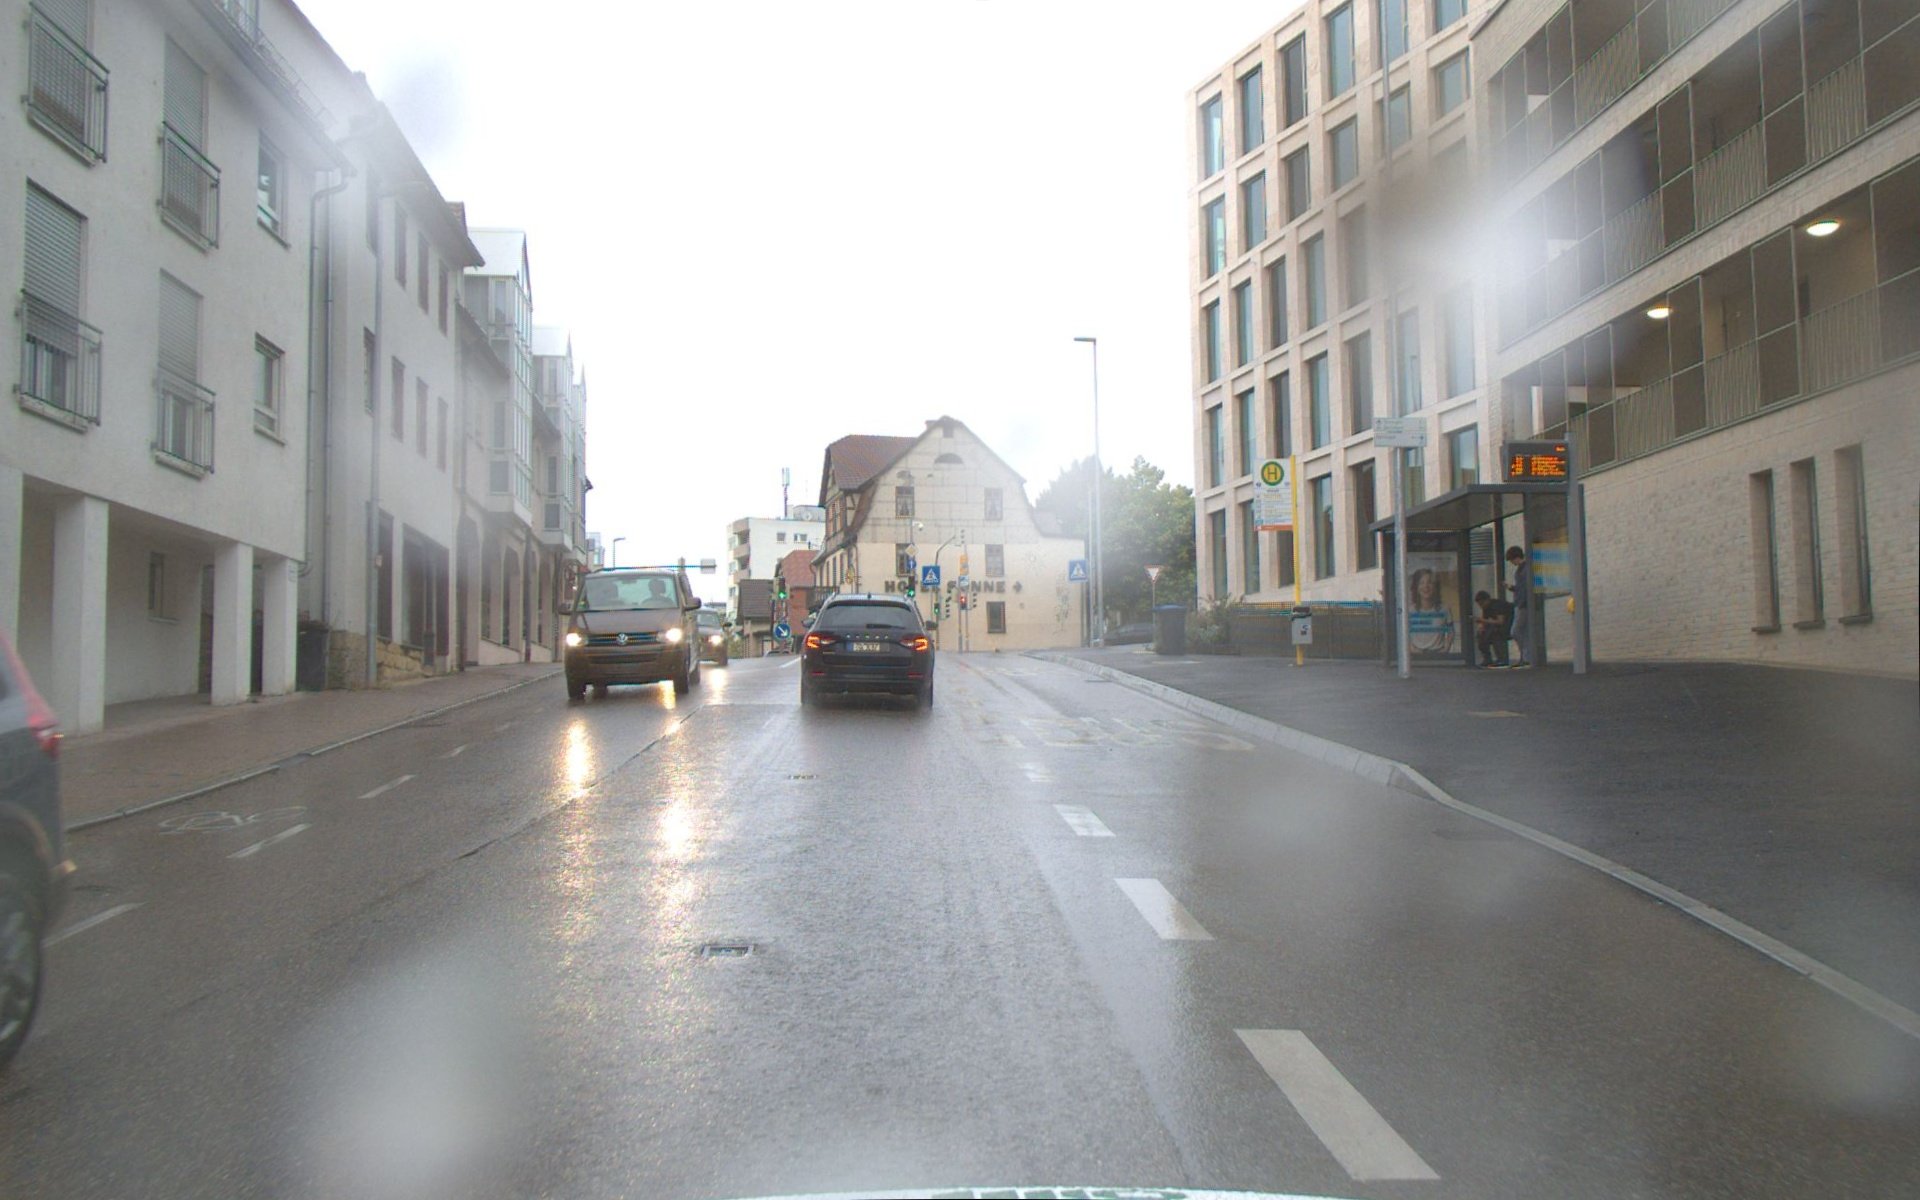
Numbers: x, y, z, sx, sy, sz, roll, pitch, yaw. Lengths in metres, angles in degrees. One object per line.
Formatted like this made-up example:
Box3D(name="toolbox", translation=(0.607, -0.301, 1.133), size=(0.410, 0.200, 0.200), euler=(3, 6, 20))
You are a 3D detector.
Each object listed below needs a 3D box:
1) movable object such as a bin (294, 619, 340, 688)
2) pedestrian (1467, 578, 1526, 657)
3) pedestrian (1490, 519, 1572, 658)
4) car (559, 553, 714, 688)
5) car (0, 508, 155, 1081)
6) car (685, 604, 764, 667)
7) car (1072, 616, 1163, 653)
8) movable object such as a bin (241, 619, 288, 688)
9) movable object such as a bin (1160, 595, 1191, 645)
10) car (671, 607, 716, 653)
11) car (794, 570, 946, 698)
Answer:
Box3D(name="movable object such as a bin", translation=(-9.802, 0.812, 25.224), size=(0.498, 1.024, 0.584), euler=(0, 0, -5))
Box3D(name="pedestrian", translation=(8.359, 0.268, 25.792), size=(0.658, 1.182, 0.635), euler=(-2, 0, -1))
Box3D(name="pedestrian", translation=(8.440, -0.165, 24.492), size=(0.766, 1.974, 1.021), euler=(-2, 0, -1))
Box3D(name="car", translation=(-5.152, 0.300, 26.942), size=(1.894, 1.941, 5.037), euler=(-2, 0, -5))
Box3D(name="car", translation=(-3.693, 0.594, 3.786), size=(1.747, 1.723, 4.456), euler=(-1, 0, -4))
Box3D(name="car", translation=(-5.794, 0.842, 41.019), size=(1.654, 1.469, 3.907), euler=(-1, 0, -4))
Box3D(name="car", translation=(8.083, 1.764, 84.734), size=(4.235, 1.531, 1.769), euler=(-2, -5, -18))
Box3D(name="movable object such as a bin", translation=(-10.549, 0.801, 25.097), size=(0.498, 1.024, 0.584), euler=(0, 0, -5))
Box3D(name="movable object such as a bin", translation=(4.786, 0.440, 36.831), size=(0.583, 1.081, 0.578), euler=(-1, 0, -2))
Box3D(name="car", translation=(-9.763, 1.070, 60.620), size=(1.530, 1.562, 3.442), euler=(-2, 0, -9))
Box3D(name="car", translation=(-1.279, 0.420, 23.007), size=(1.906, 1.594, 4.413), euler=(0, 0, -4))
